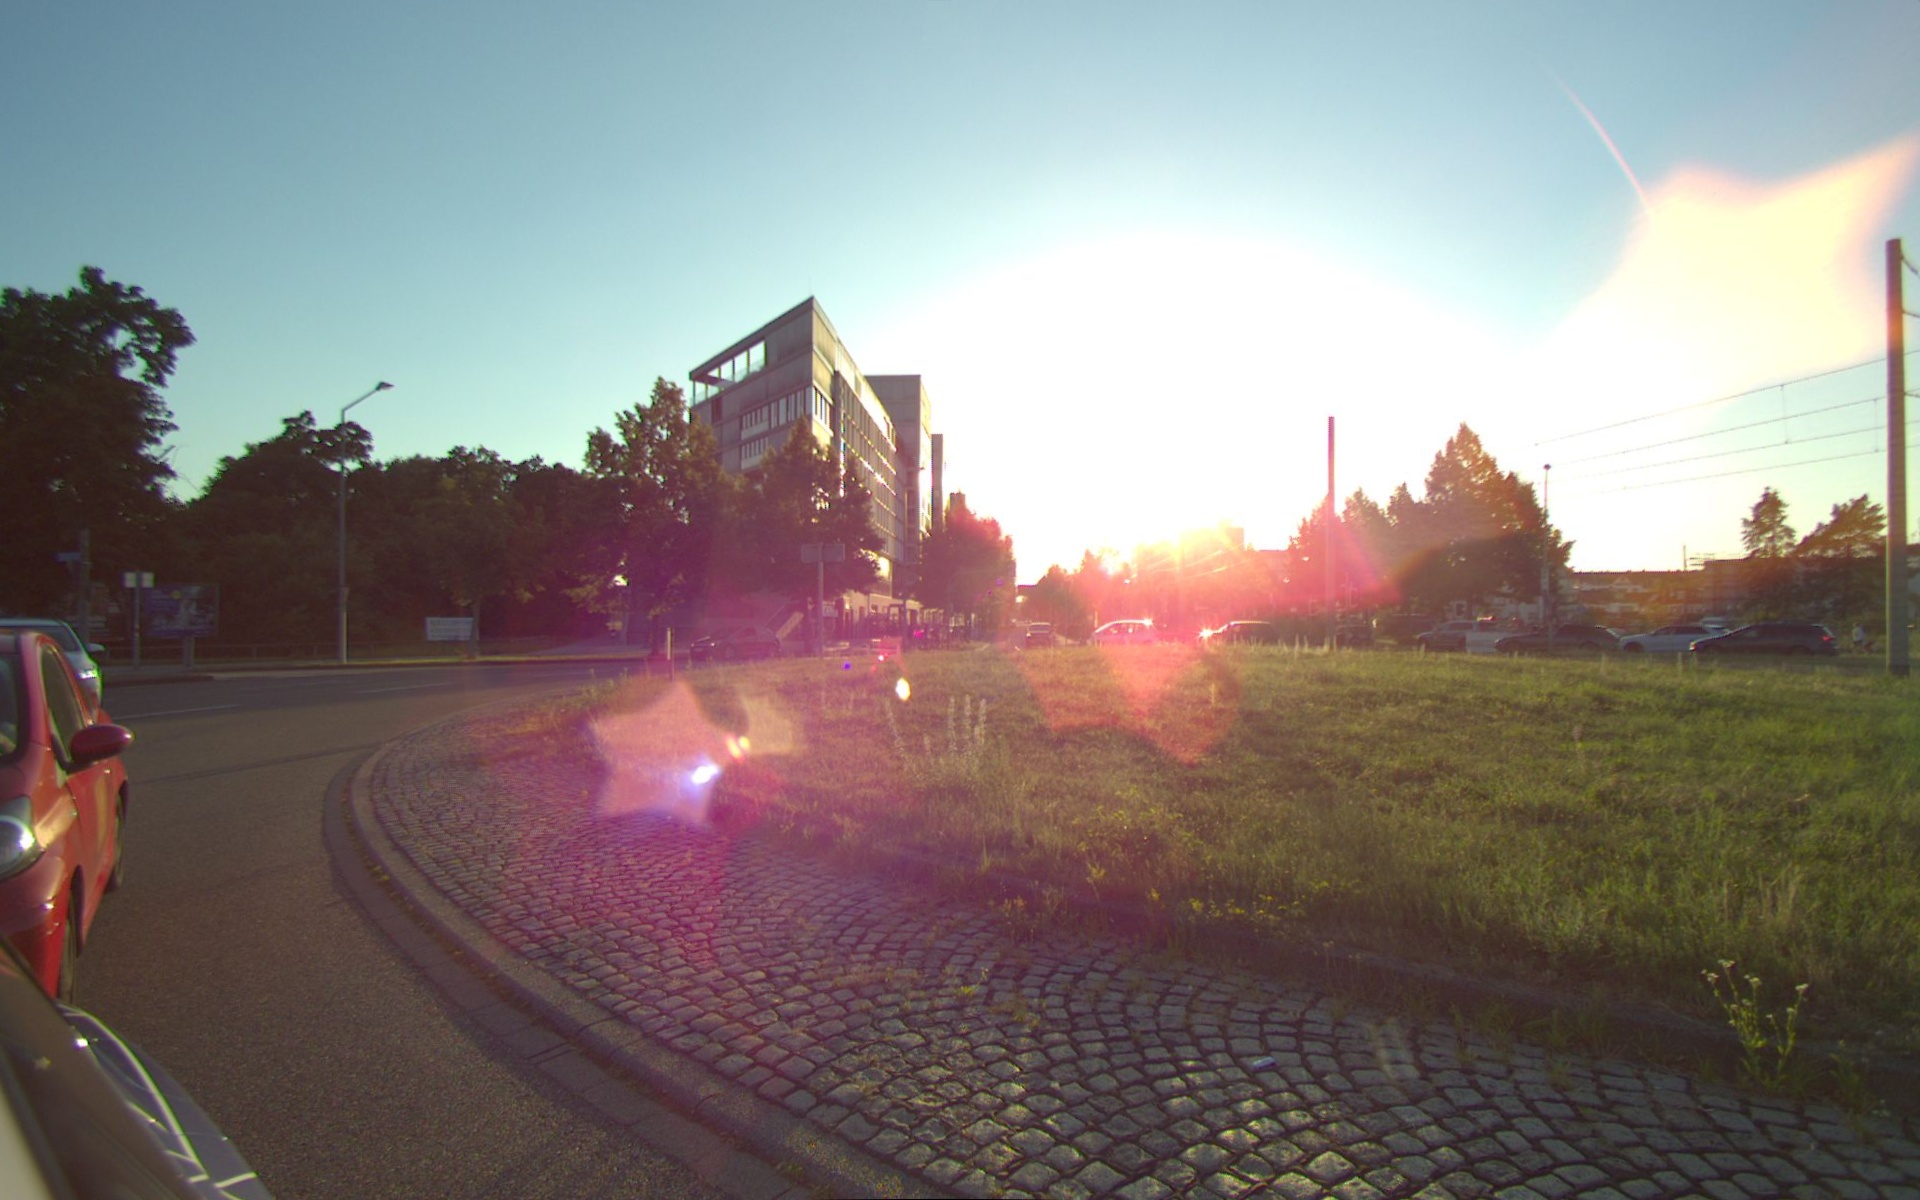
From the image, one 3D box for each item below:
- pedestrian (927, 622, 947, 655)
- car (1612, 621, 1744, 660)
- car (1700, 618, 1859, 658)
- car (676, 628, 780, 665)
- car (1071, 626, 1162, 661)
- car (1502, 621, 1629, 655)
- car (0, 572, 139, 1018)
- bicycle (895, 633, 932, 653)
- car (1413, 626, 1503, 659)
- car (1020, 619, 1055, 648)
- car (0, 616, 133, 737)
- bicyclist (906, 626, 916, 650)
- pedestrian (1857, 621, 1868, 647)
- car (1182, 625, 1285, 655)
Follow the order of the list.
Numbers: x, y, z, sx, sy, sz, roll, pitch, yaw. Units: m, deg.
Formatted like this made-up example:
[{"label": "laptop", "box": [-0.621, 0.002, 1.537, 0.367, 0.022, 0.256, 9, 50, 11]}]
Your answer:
[{"label": "pedestrian", "box": [-1.466, 2.439, 64.639, 0.995, 2.029, 0.768, -1, 0, 29]}, {"label": "car", "box": [33.780, 1.885, 47.743, 1.968, 1.719, 4.725, 1, -2, -39]}, {"label": "car", "box": [30.628, 1.384, 37.918, 1.969, 1.386, 4.389, 1, -2, -42]}, {"label": "car", "box": [-9.350, 1.850, 41.099, 1.746, 1.389, 4.079, -1, -1, 33]}, {"label": "car", "box": [7.338, 2.039, 47.711, 3.831, 1.592, 1.958, 0, -1, -7]}, {"label": "car", "box": [25.725, 1.595, 43.103, 4.351, 1.386, 1.972, -1, -2, 42]}, {"label": "car", "box": [-4.809, 0.654, 4.458, 1.662, 1.431, 4.009, 1, -1, -37]}, {"label": "bicycle", "box": [-2.895, 2.675, 62.964, 2.315, 1.254, 0.742, 0, -1, 0]}, {"label": "car", "box": [26.886, 2.282, 54.767, 1.965, 1.685, 4.013, 0, -1, -27]}, {"label": "car", "box": [5.310, 2.328, 69.865, 1.972, 1.827, 5.303, -1, -2, 1]}, {"label": "car", "box": [-14.312, 1.063, 15.190, 4.190, 1.618, 1.975, -1, -2, 36]}, {"label": "bicyclist", "box": [-3.076, 2.351, 62.986, 0.602, 1.451, 0.692, 0, -1, -2]}, {"label": "pedestrian", "box": [46.366, 1.742, 52.004, 0.397, 1.318, 0.423, -1, -2, 41]}, {"label": "car", "box": [12.933, 1.891, 48.032, 4.326, 1.386, 1.998, 0, -1, 3]}]
